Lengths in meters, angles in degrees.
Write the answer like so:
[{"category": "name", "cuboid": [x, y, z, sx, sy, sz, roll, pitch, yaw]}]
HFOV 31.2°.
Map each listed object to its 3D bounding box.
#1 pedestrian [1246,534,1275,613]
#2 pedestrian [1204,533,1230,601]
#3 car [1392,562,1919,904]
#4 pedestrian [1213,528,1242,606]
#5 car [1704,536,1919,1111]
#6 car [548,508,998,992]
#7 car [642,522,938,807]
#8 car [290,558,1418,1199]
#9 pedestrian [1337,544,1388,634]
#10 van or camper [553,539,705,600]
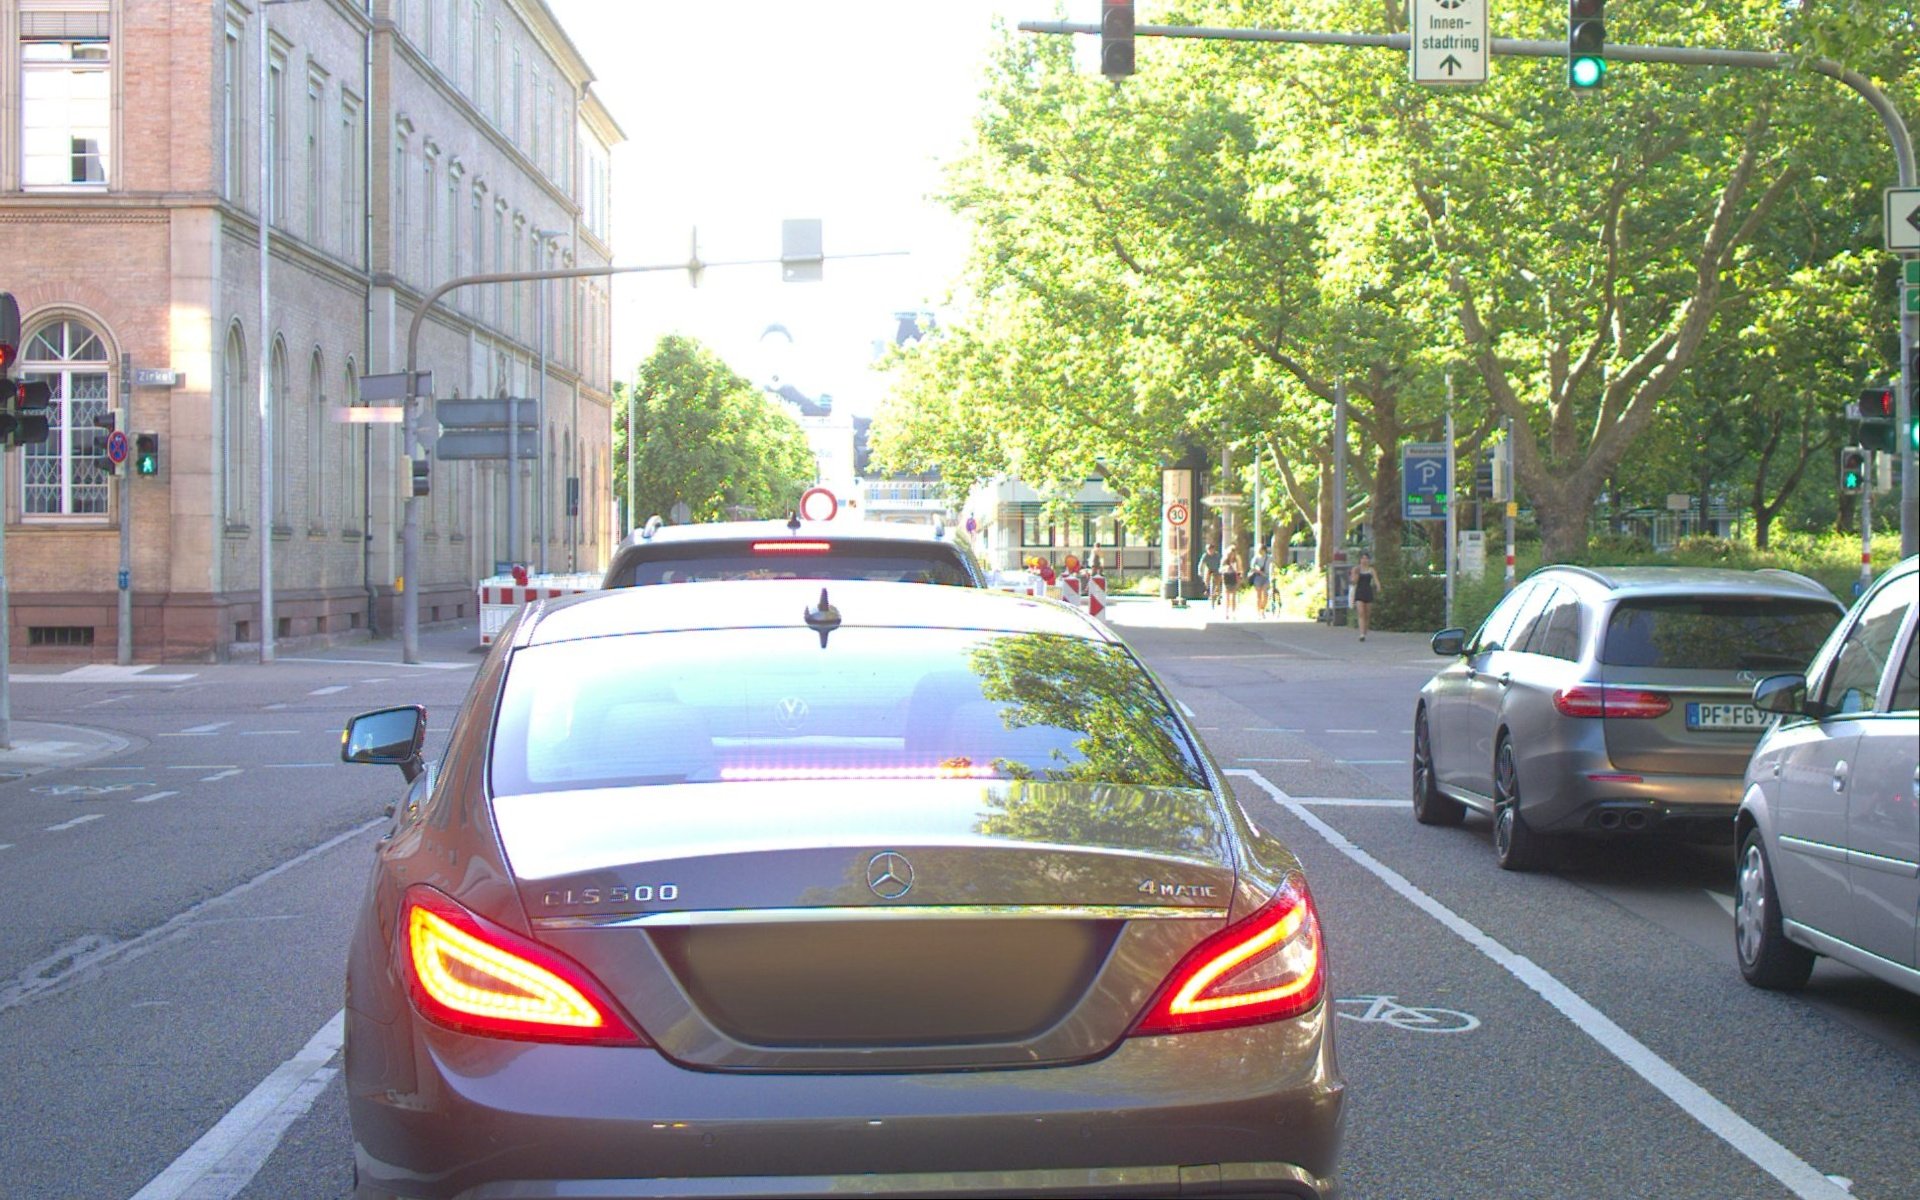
[{"category": "pedestrian", "cuboid": [6.981, -0.619, 79.824, 0.603, 1.815, 0.651, 1, 1, -1]}, {"category": "pedestrian", "cuboid": [6.940, -0.901, 92.772, 0.611, 1.815, 0.932, 1, 1, -1]}, {"category": "car", "cuboid": [3.500, 0.570, 17.635, 1.913, 1.459, 4.669, 1, 1, -1]}, {"category": "pedestrian", "cuboid": [6.239, -0.774, 80.061, 0.603, 1.815, 0.651, 0, 1, -1]}, {"category": "car", "cuboid": [3.569, 0.630, 10.692, 1.701, 1.597, 3.859, 2, 1, 1]}, {"category": "car", "cuboid": [-0.728, 0.482, 13.677, 1.517, 1.641, 3.881, 1, 1, -3]}, {"category": "car", "cuboid": [-1.074, 0.362, 23.242, 1.820, 1.756, 4.000, 0, 1, -1]}, {"category": "car", "cuboid": [-0.443, 0.656, 7.658, 1.803, 1.451, 4.352, 0, 1, -8]}, {"category": "pedestrian", "cuboid": [7.226, -0.200, 61.726, 0.830, 1.601, 0.651, 1, 1, -1]}, {"category": "van or camper", "cuboid": [-10.938, -1.013, 113.794, 4.582, 1.935, 1.999, 1, 1, 14]}]
